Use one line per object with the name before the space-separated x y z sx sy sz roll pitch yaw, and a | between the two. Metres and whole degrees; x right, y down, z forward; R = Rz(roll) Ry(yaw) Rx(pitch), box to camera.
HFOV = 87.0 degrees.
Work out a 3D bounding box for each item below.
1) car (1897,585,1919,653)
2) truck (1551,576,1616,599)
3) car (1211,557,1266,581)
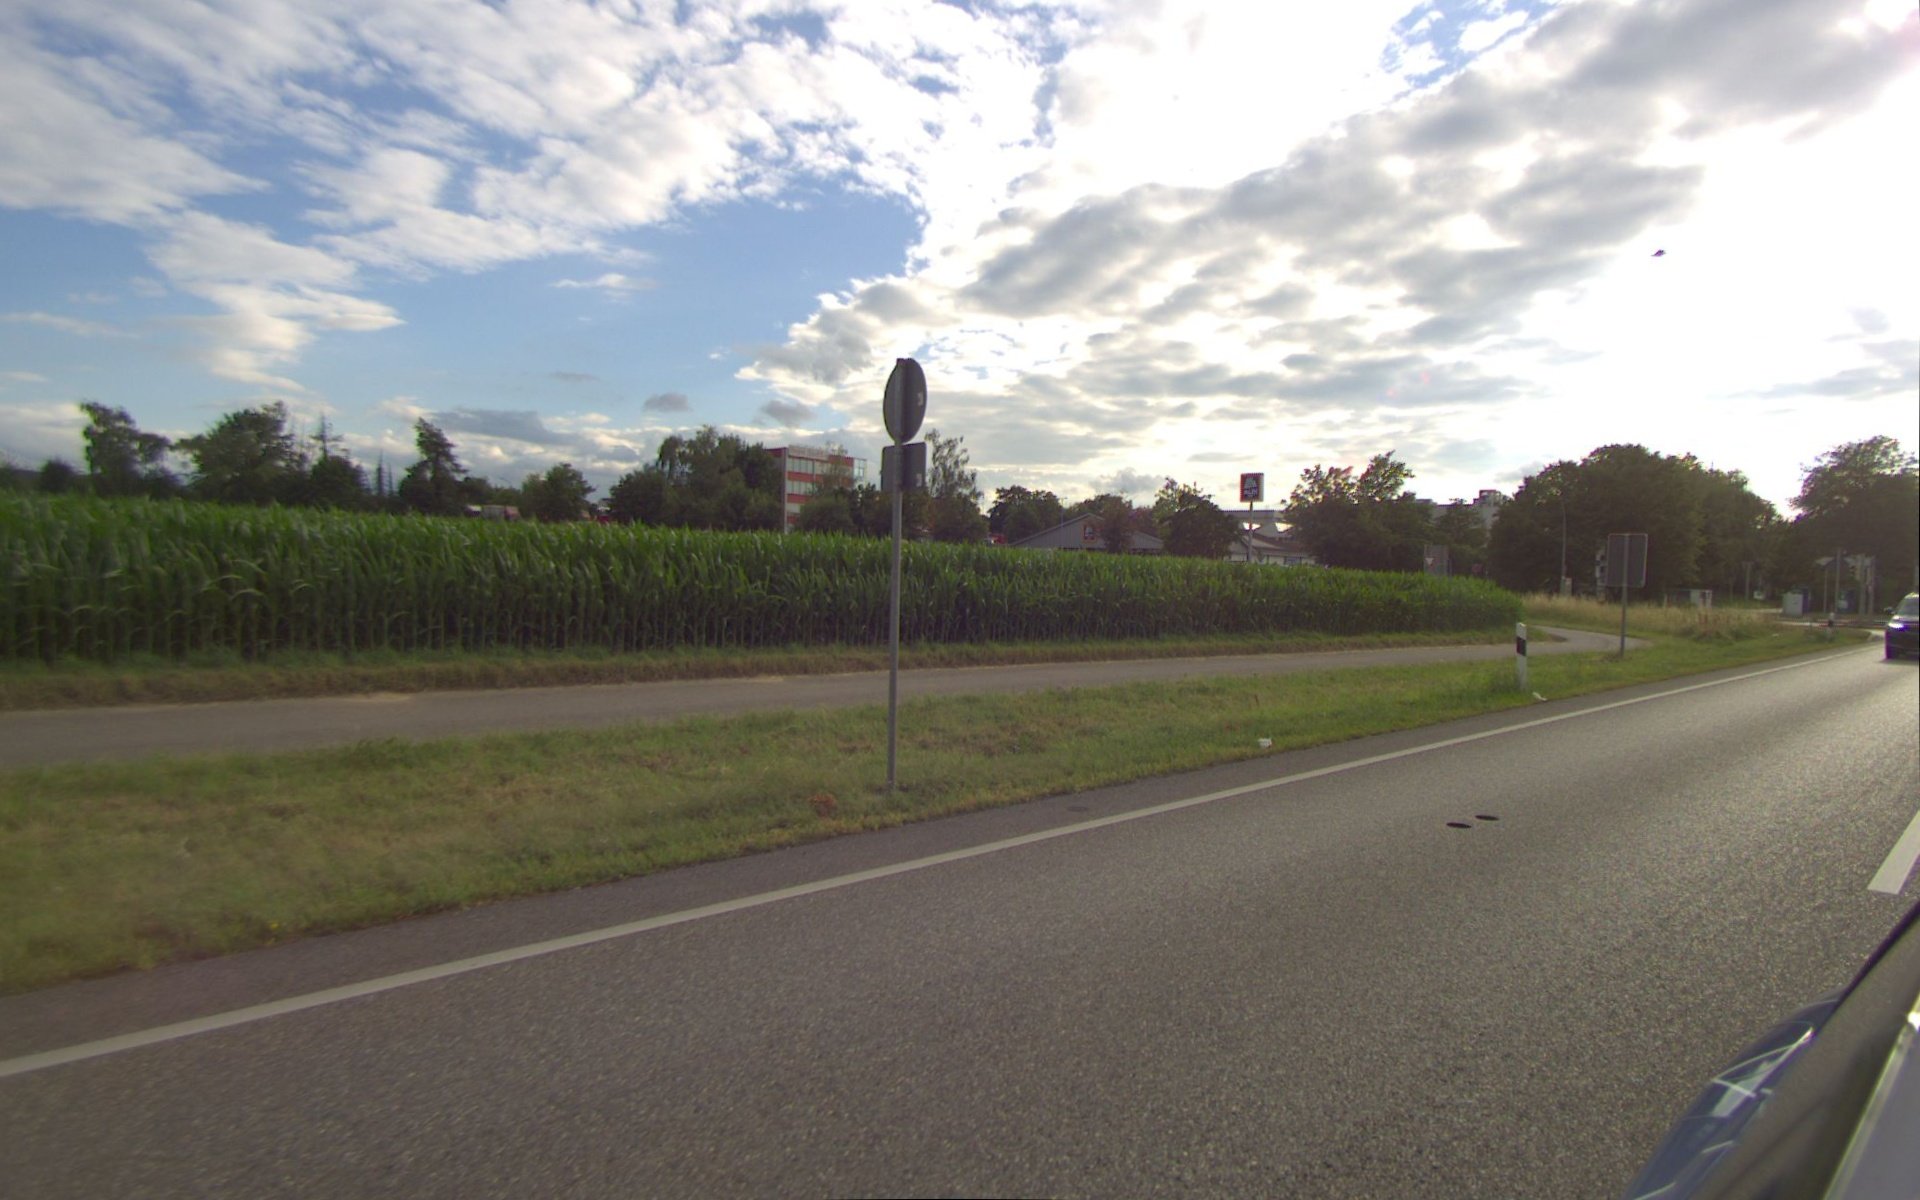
car | 25.538 0.471 25.959 4.405 1.671 1.847 0 0 -43
truck | 56.132 -1.139 91.210 4.600 2.022 1.816 1 0 13
car | 24.910 -2.798 90.601 1.928 1.906 4.298 0 5 -44
